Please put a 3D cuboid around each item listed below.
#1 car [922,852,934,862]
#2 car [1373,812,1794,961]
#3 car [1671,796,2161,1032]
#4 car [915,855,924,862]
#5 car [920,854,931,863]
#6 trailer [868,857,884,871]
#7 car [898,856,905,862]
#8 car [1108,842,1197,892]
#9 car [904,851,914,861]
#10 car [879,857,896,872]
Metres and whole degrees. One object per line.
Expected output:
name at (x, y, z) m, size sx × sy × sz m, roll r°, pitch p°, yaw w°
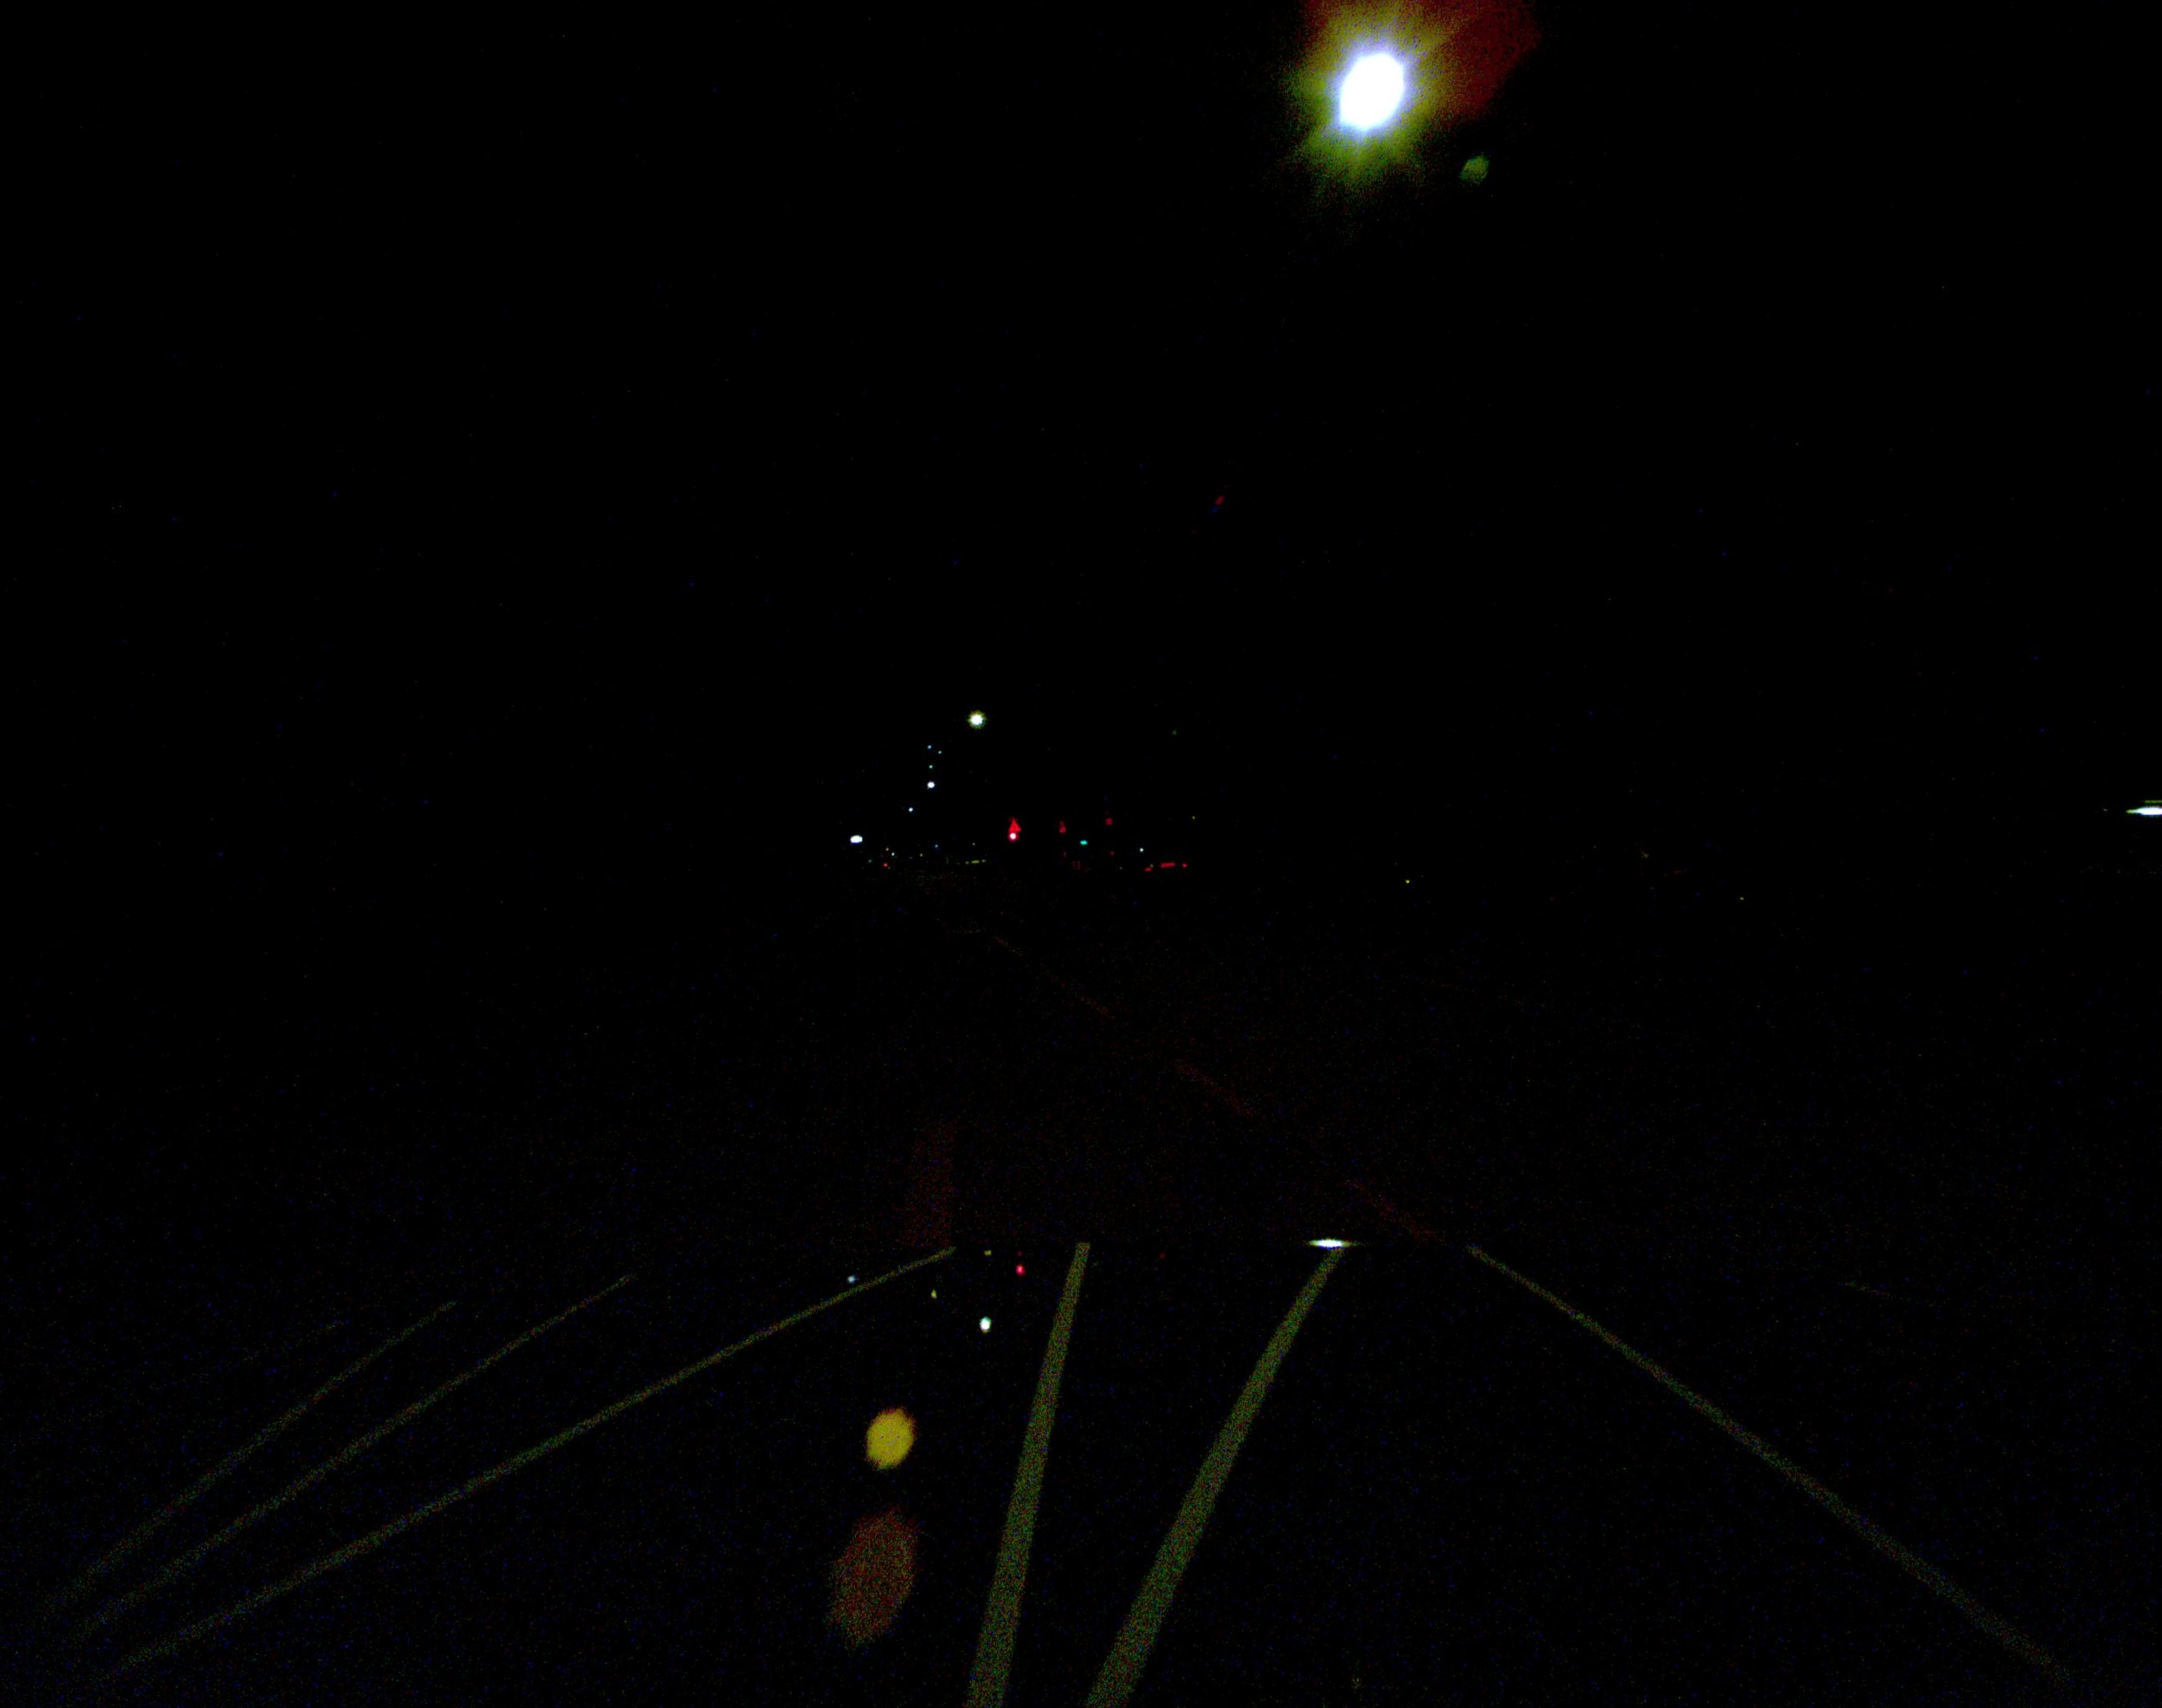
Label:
car at (-29.074, 0.597, 144.500) m, size 1.884 × 1.799 × 3.726 m, roll -7°, pitch 1°, yaw -13°
car at (6.316, 0.330, 10.400) m, size 1.775 × 1.477 × 4.761 m, roll -3°, pitch 1°, yaw -16°
car at (7.523, 0.341, 5.639) m, size 1.774 × 1.477 × 4.857 m, roll -3°, pitch 1°, yaw -15°
car at (-36.542, 1.022, 171.403) m, size 1.828 × 1.637 × 3.726 m, roll -3°, pitch 1°, yaw -14°
car at (-30.740, 0.882, 150.153) m, size 1.828 × 1.424 × 3.726 m, roll -7°, pitch 1°, yaw -13°
trailer at (-25.317, 1.250, 93.921) m, size 1.606 × 1.486 × 3.730 m, roll -5°, pitch 1°, yaw -11°
car at (-56.761, 1.572, 240.842) m, size 1.828 × 1.424 × 3.726 m, roll -7°, pitch 1°, yaw -16°
car at (2.386, 0.424, 26.351) m, size 1.720 × 1.485 × 3.985 m, roll -5°, pitch 1°, yaw -14°
car at (-48.567, 0.493, 214.602) m, size 2.007 × 2.493 × 4.947 m, roll -7°, pitch 2°, yaw -16°
car at (-21.859, 1.175, 85.970) m, size 1.592 × 1.453 × 3.792 m, roll -5°, pitch 1°, yaw -12°
